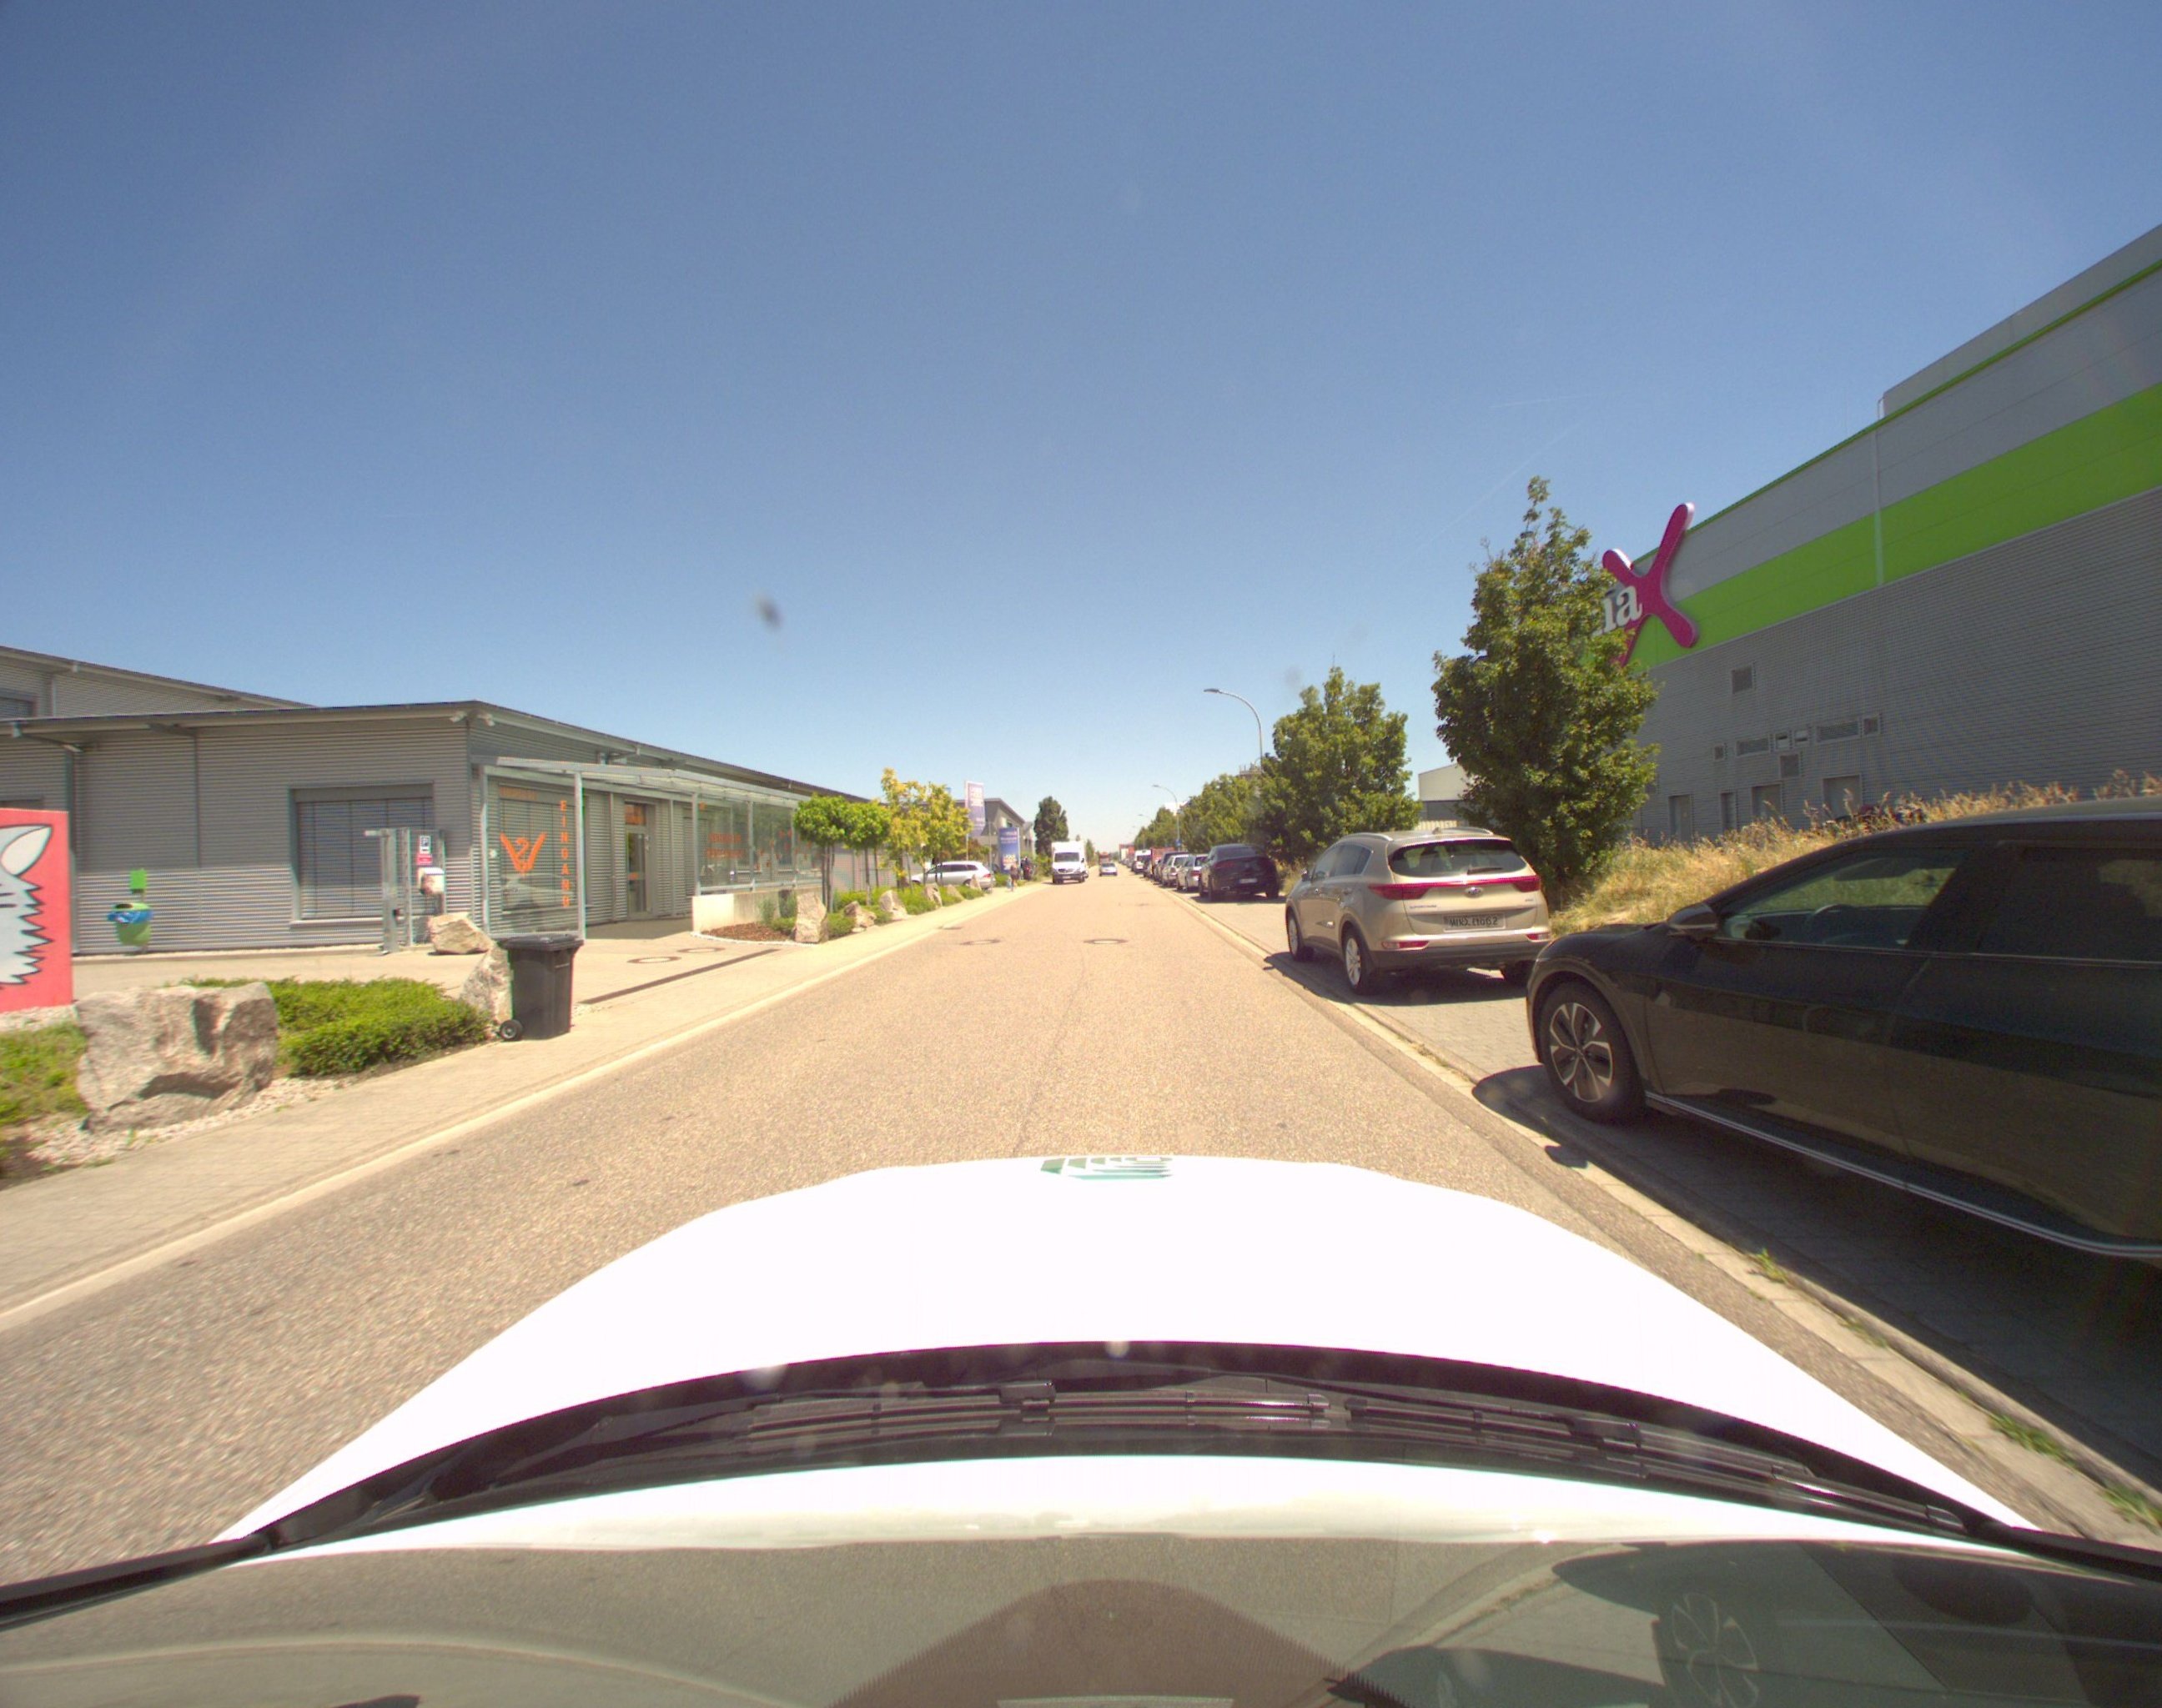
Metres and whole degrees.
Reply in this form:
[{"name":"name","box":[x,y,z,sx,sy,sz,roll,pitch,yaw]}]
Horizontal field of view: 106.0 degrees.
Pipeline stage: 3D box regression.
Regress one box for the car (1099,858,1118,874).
[{"name":"car","box":[2.761,1.231,82.531,1.776,1.422,4.415,-5,-1,2]}]

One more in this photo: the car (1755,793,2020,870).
[{"name":"car","box":[18.855,-0.466,19.397,1.986,1.499,4.403,-3,0,2]}]

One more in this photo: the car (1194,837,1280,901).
[{"name":"car","box":[4.818,0.443,25.845,1.941,1.701,4.548,-4,0,3]}]

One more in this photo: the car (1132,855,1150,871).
[{"name":"car","box":[7.681,1.151,104.650,1.986,1.825,4.355,-3,-1,2]}]

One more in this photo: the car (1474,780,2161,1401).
[{"name":"car","box":[3.552,0.528,2.893,1.899,1.529,4.627,-4,0,-2]}]

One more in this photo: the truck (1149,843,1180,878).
[{"name":"truck","box":[5.711,0.446,55.947,1.672,2.181,4.392,-5,-1,2]}]

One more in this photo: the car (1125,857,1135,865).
[{"name":"car","box":[9.309,1.336,153.909,1.711,1.450,3.648,-3,-1,2]}]

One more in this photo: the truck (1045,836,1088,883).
[{"name":"truck","box":[-0.896,0.397,55.958,2.352,2.860,6.419,-5,-1,3]}]

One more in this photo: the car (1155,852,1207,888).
[{"name":"car","box":[4.695,0.707,38.858,1.709,1.483,4.771,-4,0,-1]}]

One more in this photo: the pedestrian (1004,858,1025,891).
[{"name":"pedestrian","box":[-3.231,0.992,39.818,0.895,1.574,0.786,-1,0,3]}]

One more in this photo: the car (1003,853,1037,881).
[{"name":"car","box":[-4.585,0.945,61.893,1.986,1.956,5.220,-2,-1,2]}]

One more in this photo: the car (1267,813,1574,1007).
[{"name":"car","box":[3.602,0.514,9.652,1.798,1.635,4.460,-4,0,2]}]

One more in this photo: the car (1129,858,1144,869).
[{"name":"car","box":[8.014,1.352,117.053,1.700,1.504,4.715,-3,-1,7]}]

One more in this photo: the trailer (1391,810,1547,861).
[{"name":"trailer","box":[34.934,-1.659,73.657,12.569,3.875,2.805,-3,-2,2]}]

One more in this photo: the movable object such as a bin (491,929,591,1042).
[{"name":"movable object such as a bin","box":[-5.019,1.210,7.597,0.569,0.949,0.511,-2,0,-4]}]

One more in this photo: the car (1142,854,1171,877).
[{"name":"car","box":[5.584,0.870,60.350,1.732,1.530,4.000,-5,-1,1]}]

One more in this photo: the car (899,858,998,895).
[{"name":"car","box":[-6.200,1.056,38.366,4.247,1.518,1.866,-2,-1,1]}]

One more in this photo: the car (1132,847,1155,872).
[{"name":"car","box":[6.739,0.608,87.570,2.257,2.497,6.158,-3,-1,4]}]

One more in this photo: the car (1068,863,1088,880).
[{"name":"car","box":[-0.243,1.634,77.488,1.723,1.458,4.493,-2,-1,2]}]

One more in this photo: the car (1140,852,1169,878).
[{"name":"car","box":[5.959,0.869,66.207,1.986,1.884,5.158,-4,-1,3]}]

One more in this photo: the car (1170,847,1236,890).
[{"name":"car","box":[4.813,0.565,32.833,1.799,1.483,4.771,-4,0,-1]}]

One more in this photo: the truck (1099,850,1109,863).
[{"name":"truck","box":[6.564,0.712,232.467,2.439,3.513,8.276,-4,0,2]}]

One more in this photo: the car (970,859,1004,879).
[{"name":"car","box":[-7.187,1.122,62.742,1.924,1.416,4.771,-1,-1,2]}]

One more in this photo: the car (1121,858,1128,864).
[{"name":"car","box":[10.674,1.648,200.989,1.579,1.409,3.502,-3,0,2]}]

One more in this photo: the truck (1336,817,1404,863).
[{"name":"truck","box":[26.155,-1.245,73.949,5.043,3.875,2.805,-3,-2,2]}]

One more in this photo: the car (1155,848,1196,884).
[{"name":"car","box":[5.078,0.597,44.415,1.804,1.725,4.777,-4,0,3]}]
